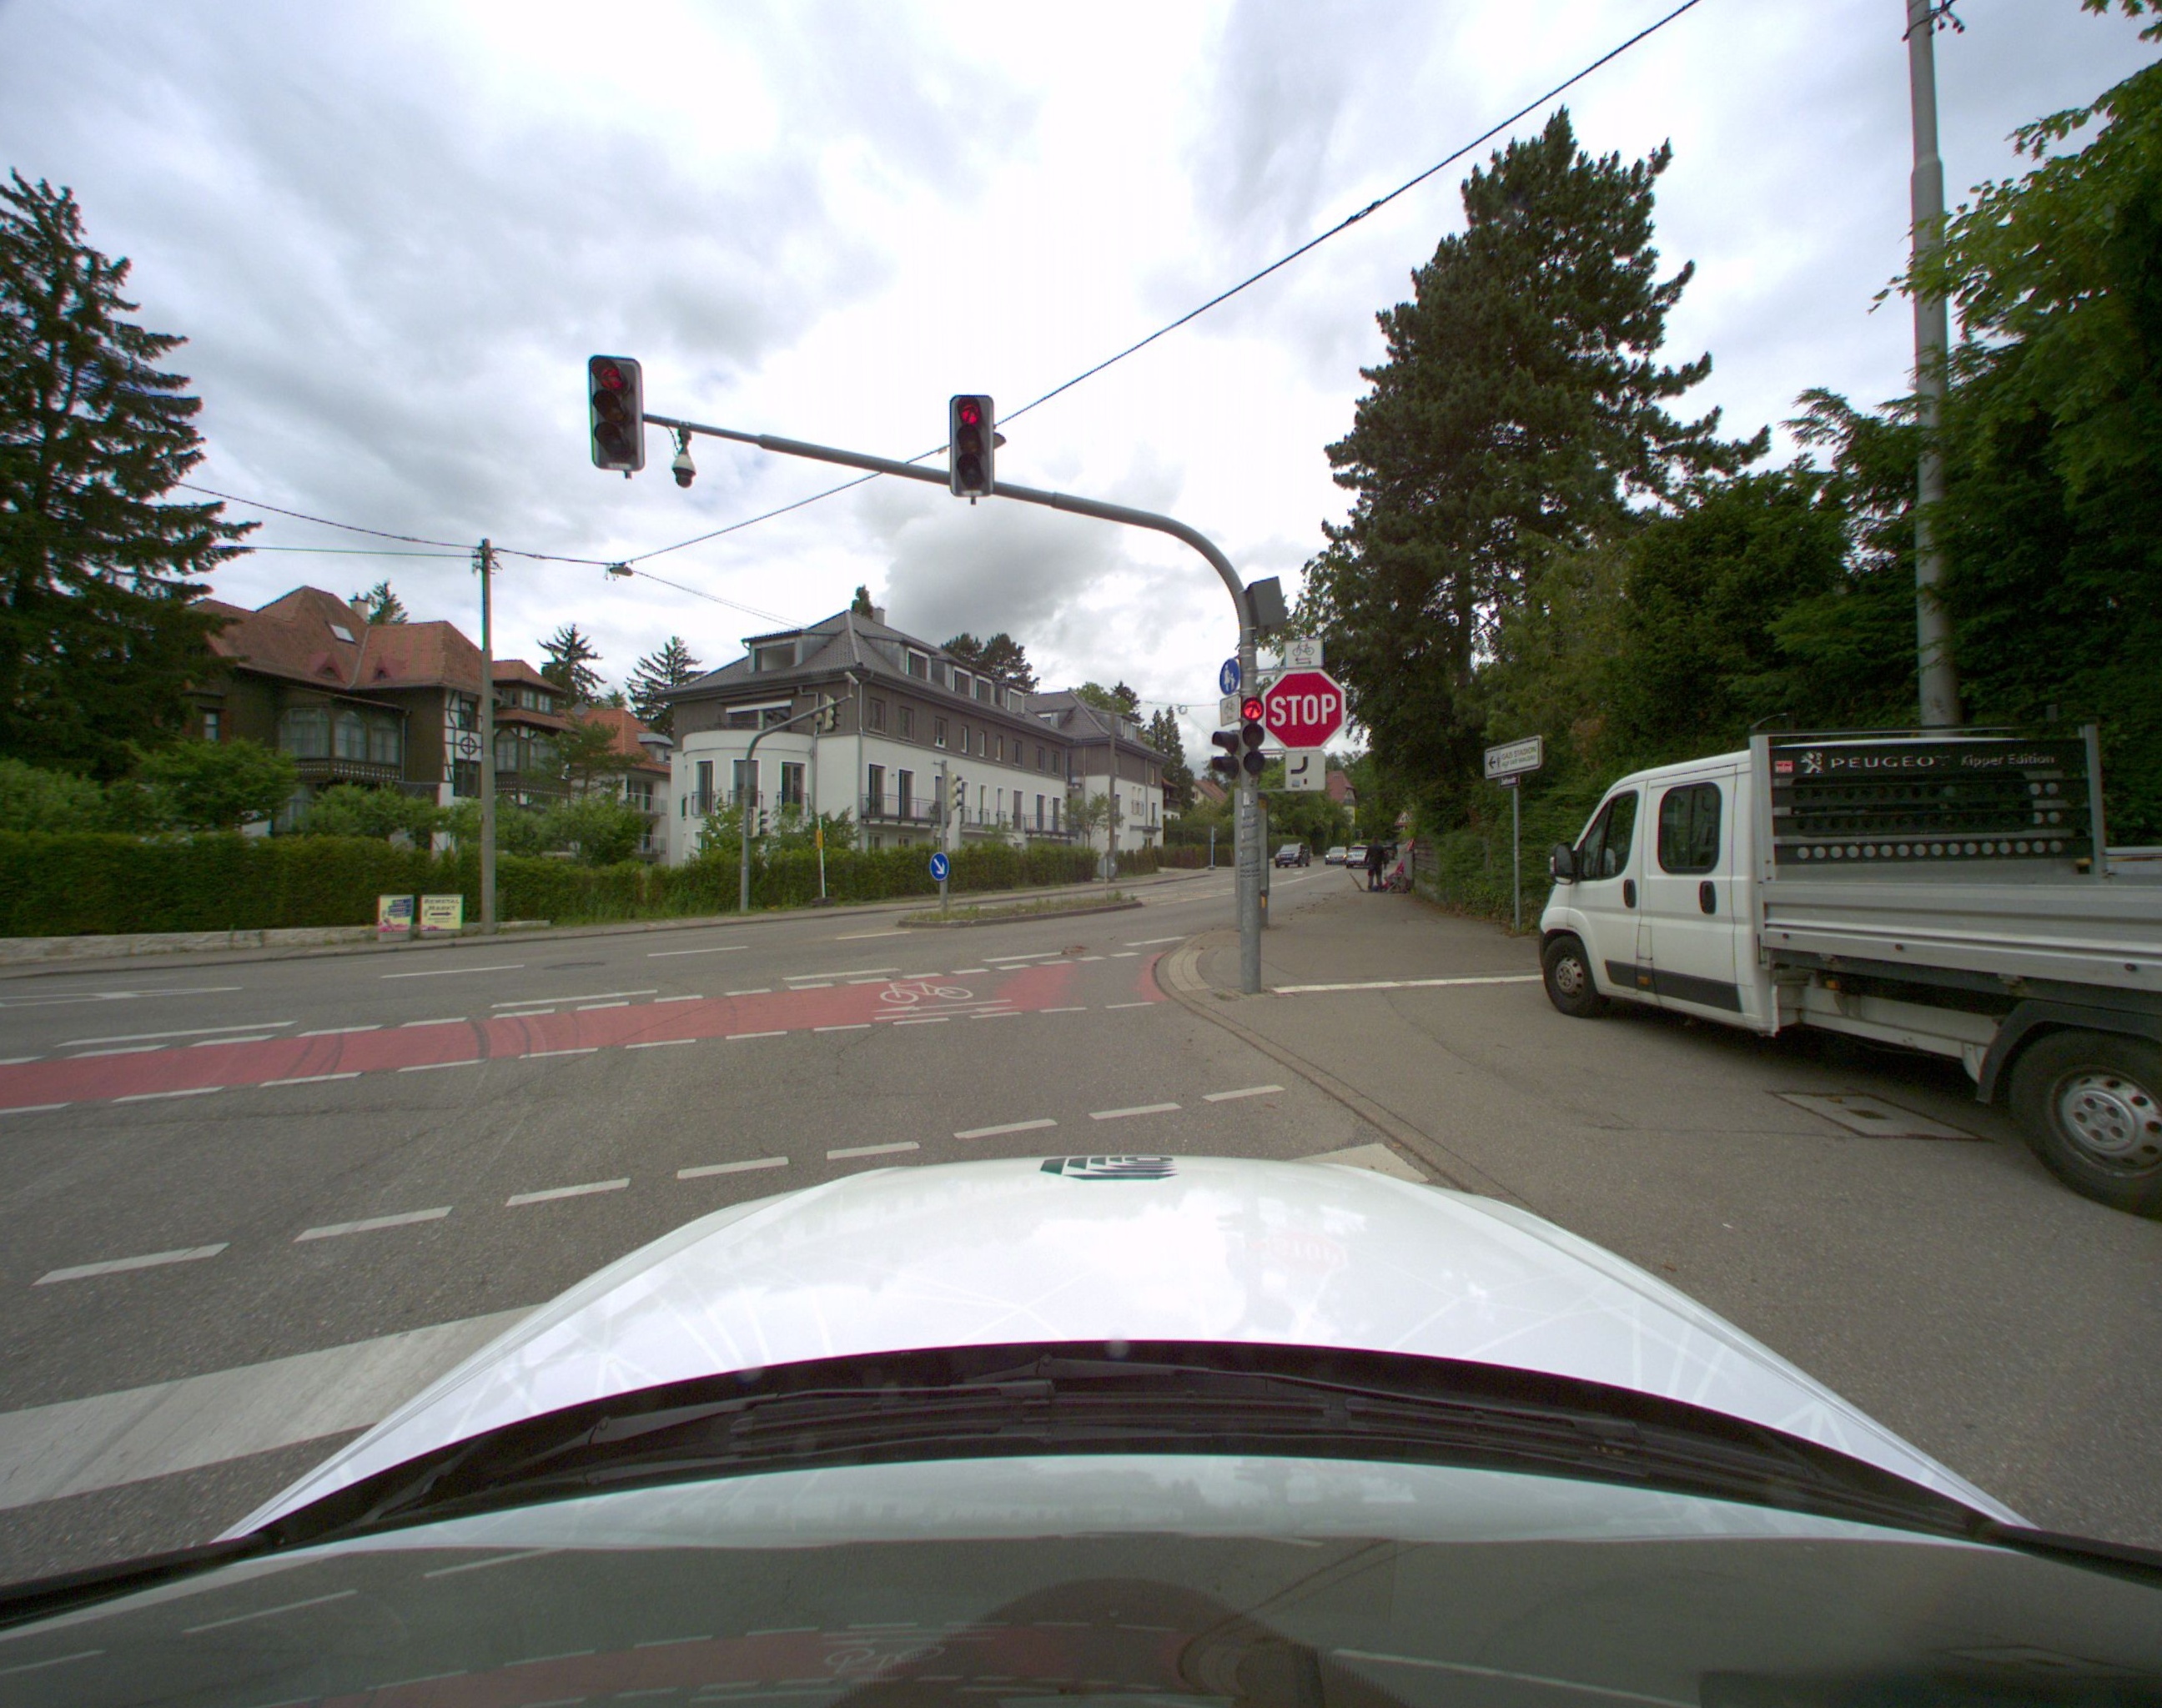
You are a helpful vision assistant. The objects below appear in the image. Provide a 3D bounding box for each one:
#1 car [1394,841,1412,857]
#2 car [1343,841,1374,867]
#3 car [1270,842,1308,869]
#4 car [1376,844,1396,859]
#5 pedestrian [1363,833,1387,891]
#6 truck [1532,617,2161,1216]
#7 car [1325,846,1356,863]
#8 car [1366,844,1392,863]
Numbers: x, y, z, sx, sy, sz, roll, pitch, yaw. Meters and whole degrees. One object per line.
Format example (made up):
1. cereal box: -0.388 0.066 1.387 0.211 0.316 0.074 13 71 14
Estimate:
1. car: 39.946 -0.652 100.849 1.902 1.894 4.935 1 1 23
2. car: 19.905 -0.038 58.306 1.791 1.753 4.511 -2 0 22
3. car: 15.874 0.099 61.847 1.895 1.881 5.170 -2 -1 24
4. car: 32.049 -0.271 85.523 1.679 1.430 3.769 -2 0 23
5. pedestrian: 9.815 0.261 27.225 0.594 1.907 0.559 0 -1 2
6. truck: 5.275 0.233 4.950 2.198 2.243 5.729 0 0 4
7. car: 21.954 0.012 68.675 1.921 1.403 4.770 -1 0 25
8. car: 26.295 -0.064 71.758 1.783 1.527 4.770 -2 0 24
